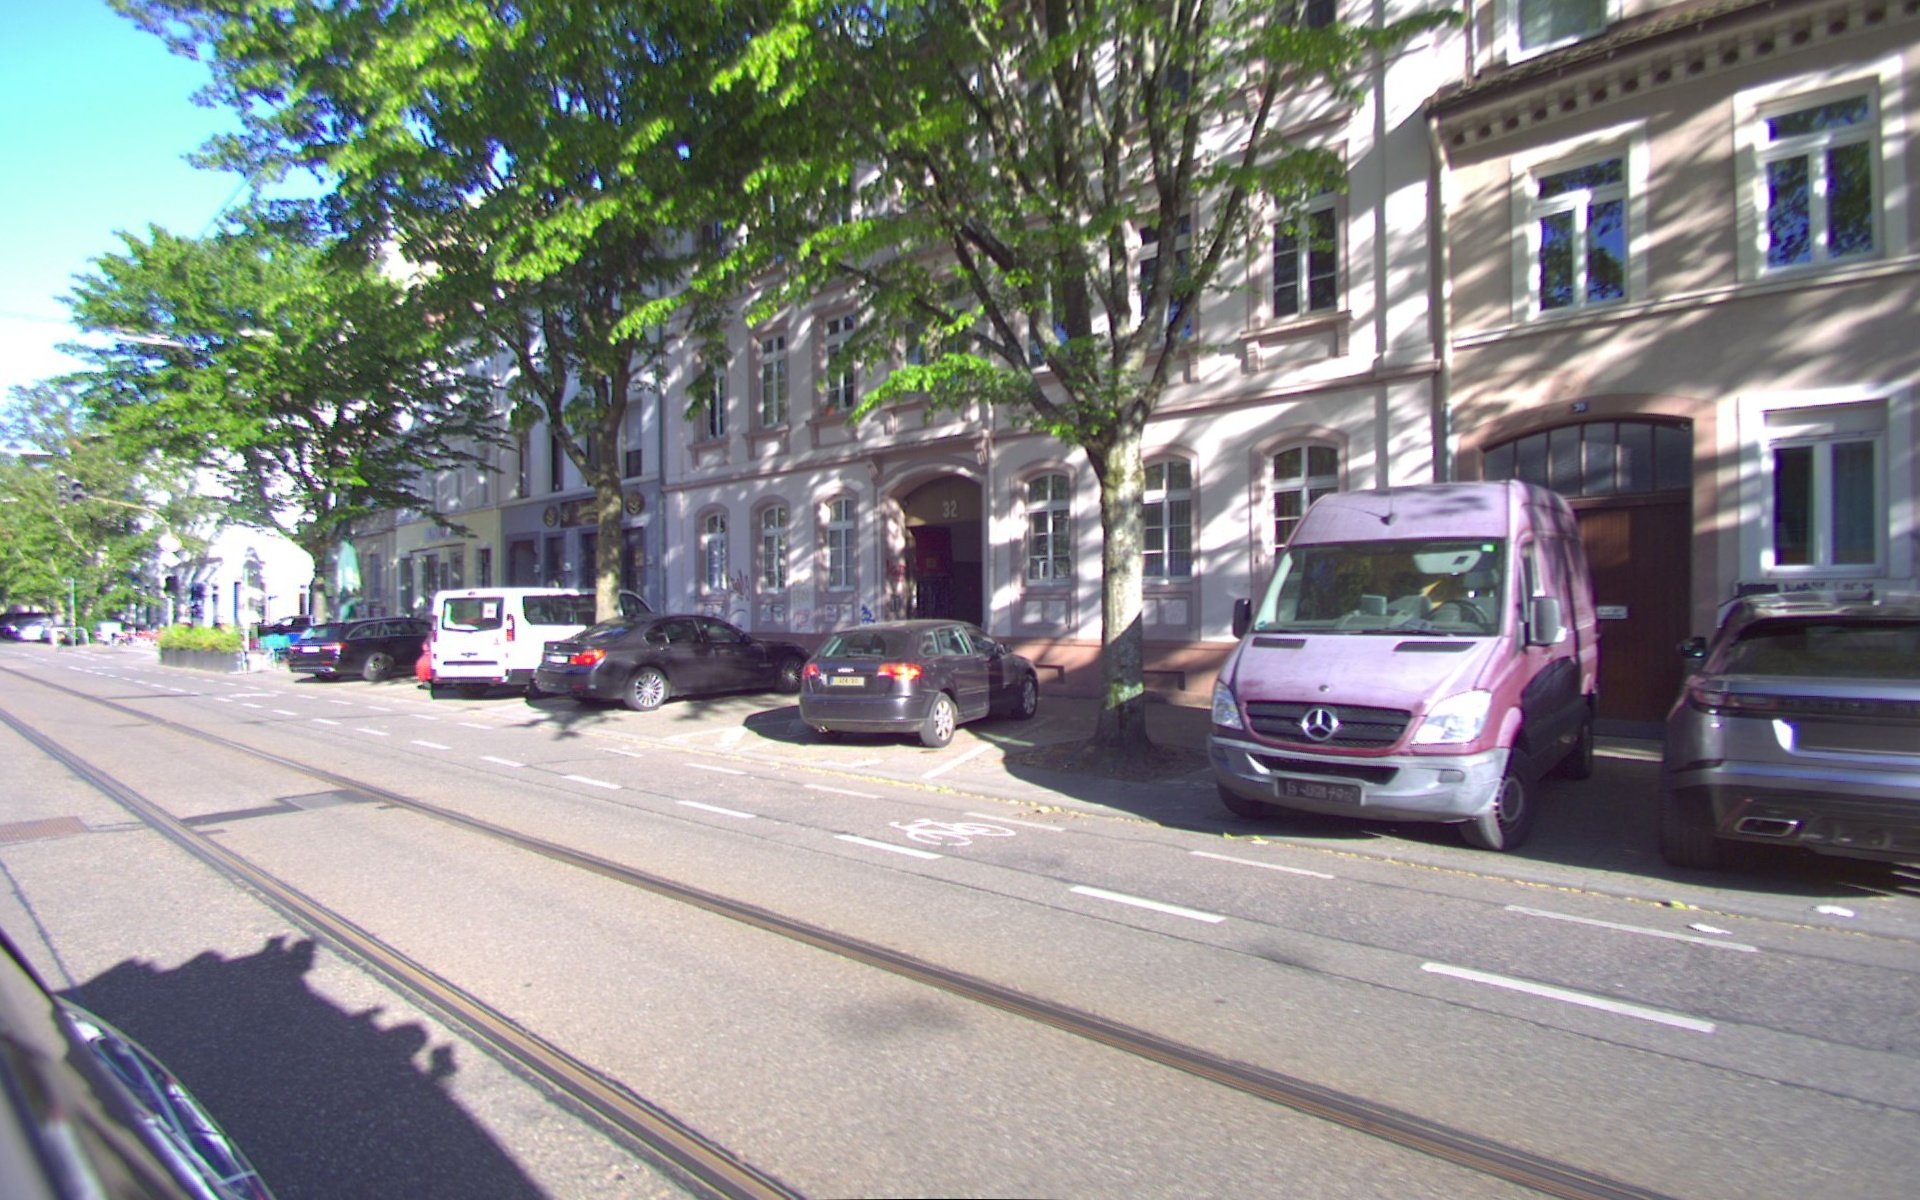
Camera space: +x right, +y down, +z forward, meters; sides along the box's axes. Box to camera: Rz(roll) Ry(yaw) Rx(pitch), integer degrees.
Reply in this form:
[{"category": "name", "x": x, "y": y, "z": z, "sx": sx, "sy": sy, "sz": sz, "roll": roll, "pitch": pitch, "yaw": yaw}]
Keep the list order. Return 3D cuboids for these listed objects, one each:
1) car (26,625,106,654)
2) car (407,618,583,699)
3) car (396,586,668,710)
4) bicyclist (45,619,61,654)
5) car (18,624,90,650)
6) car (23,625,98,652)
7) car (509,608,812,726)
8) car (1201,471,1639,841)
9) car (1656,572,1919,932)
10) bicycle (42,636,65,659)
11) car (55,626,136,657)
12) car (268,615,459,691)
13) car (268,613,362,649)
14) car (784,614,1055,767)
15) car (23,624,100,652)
[{"category": "car", "x": -50.870, "y": 2.205, "z": 57.638, "sx": 1.496, "sy": 1.464, "sz": 3.292, "roll": 1, "pitch": 1, "yaw": 43}, {"category": "car", "x": -9.841, "y": 1.195, "z": 21.655, "sx": 1.485, "sy": 1.464, "sz": 3.318, "roll": -2, "pitch": 0, "yaw": 20}, {"category": "car", "x": -7.882, "y": 0.834, "z": 19.268, "sx": 2.058, "sy": 2.029, "sz": 4.910, "roll": -1, "pitch": -1, "yaw": 18}, {"category": "bicyclist", "x": -39.403, "y": 1.588, "z": 43.965, "sx": 0.590, "sy": 1.482, "sz": 0.414, "roll": -1, "pitch": -2, "yaw": 37}, {"category": "car", "x": -57.289, "y": 2.307, "z": 64.029, "sx": 1.497, "sy": 1.464, "sz": 3.292, "roll": 1, "pitch": 1, "yaw": 44}, {"category": "car", "x": -54.396, "y": 2.297, "z": 61.220, "sx": 1.497, "sy": 1.464, "sz": 3.292, "roll": 1, "pitch": 1, "yaw": 44}, {"category": "car", "x": -4.879, "y": 1.013, "z": 17.117, "sx": 1.951, "sy": 1.588, "sz": 4.651, "roll": -2, "pitch": 0, "yaw": 37}, {"category": "car", "x": 3.958, "y": 0.331, "z": 8.238, "sx": 2.162, "sy": 2.134, "sz": 4.392, "roll": -1, "pitch": -1, "yaw": 40}, {"category": "car", "x": 6.184, "y": 0.741, "z": 6.713, "sx": 2.162, "sy": 1.737, "sz": 4.780, "roll": -1, "pitch": -1, "yaw": 40}, {"category": "bicycle", "x": -39.370, "y": 2.059, "z": 43.937, "sx": 1.755, "sy": 0.943, "sz": 0.445, "roll": -1, "pitch": -2, "yaw": 38}, {"category": "car", "x": -46.592, "y": 2.233, "z": 54.576, "sx": 3.288, "sy": 1.464, "sz": 1.498, "roll": -1, "pitch": 1, "yaw": -42}, {"category": "car", "x": -14.230, "y": 1.206, "z": 24.431, "sx": 1.763, "sy": 1.570, "sz": 3.985, "roll": -1, "pitch": 0, "yaw": 12}, {"category": "car", "x": -33.032, "y": 1.571, "z": 51.855, "sx": 3.934, "sy": 1.763, "sz": 2.005, "roll": 1, "pitch": -2, "yaw": -36}, {"category": "car", "x": -0.312, "y": 0.977, "z": 12.740, "sx": 1.662, "sy": 1.464, "sz": 4.063, "roll": -1, "pitch": 1, "yaw": 27}, {"category": "car", "x": -52.721, "y": 2.226, "z": 59.417, "sx": 1.497, "sy": 1.464, "sz": 3.292, "roll": 1, "pitch": 1, "yaw": 44}]
